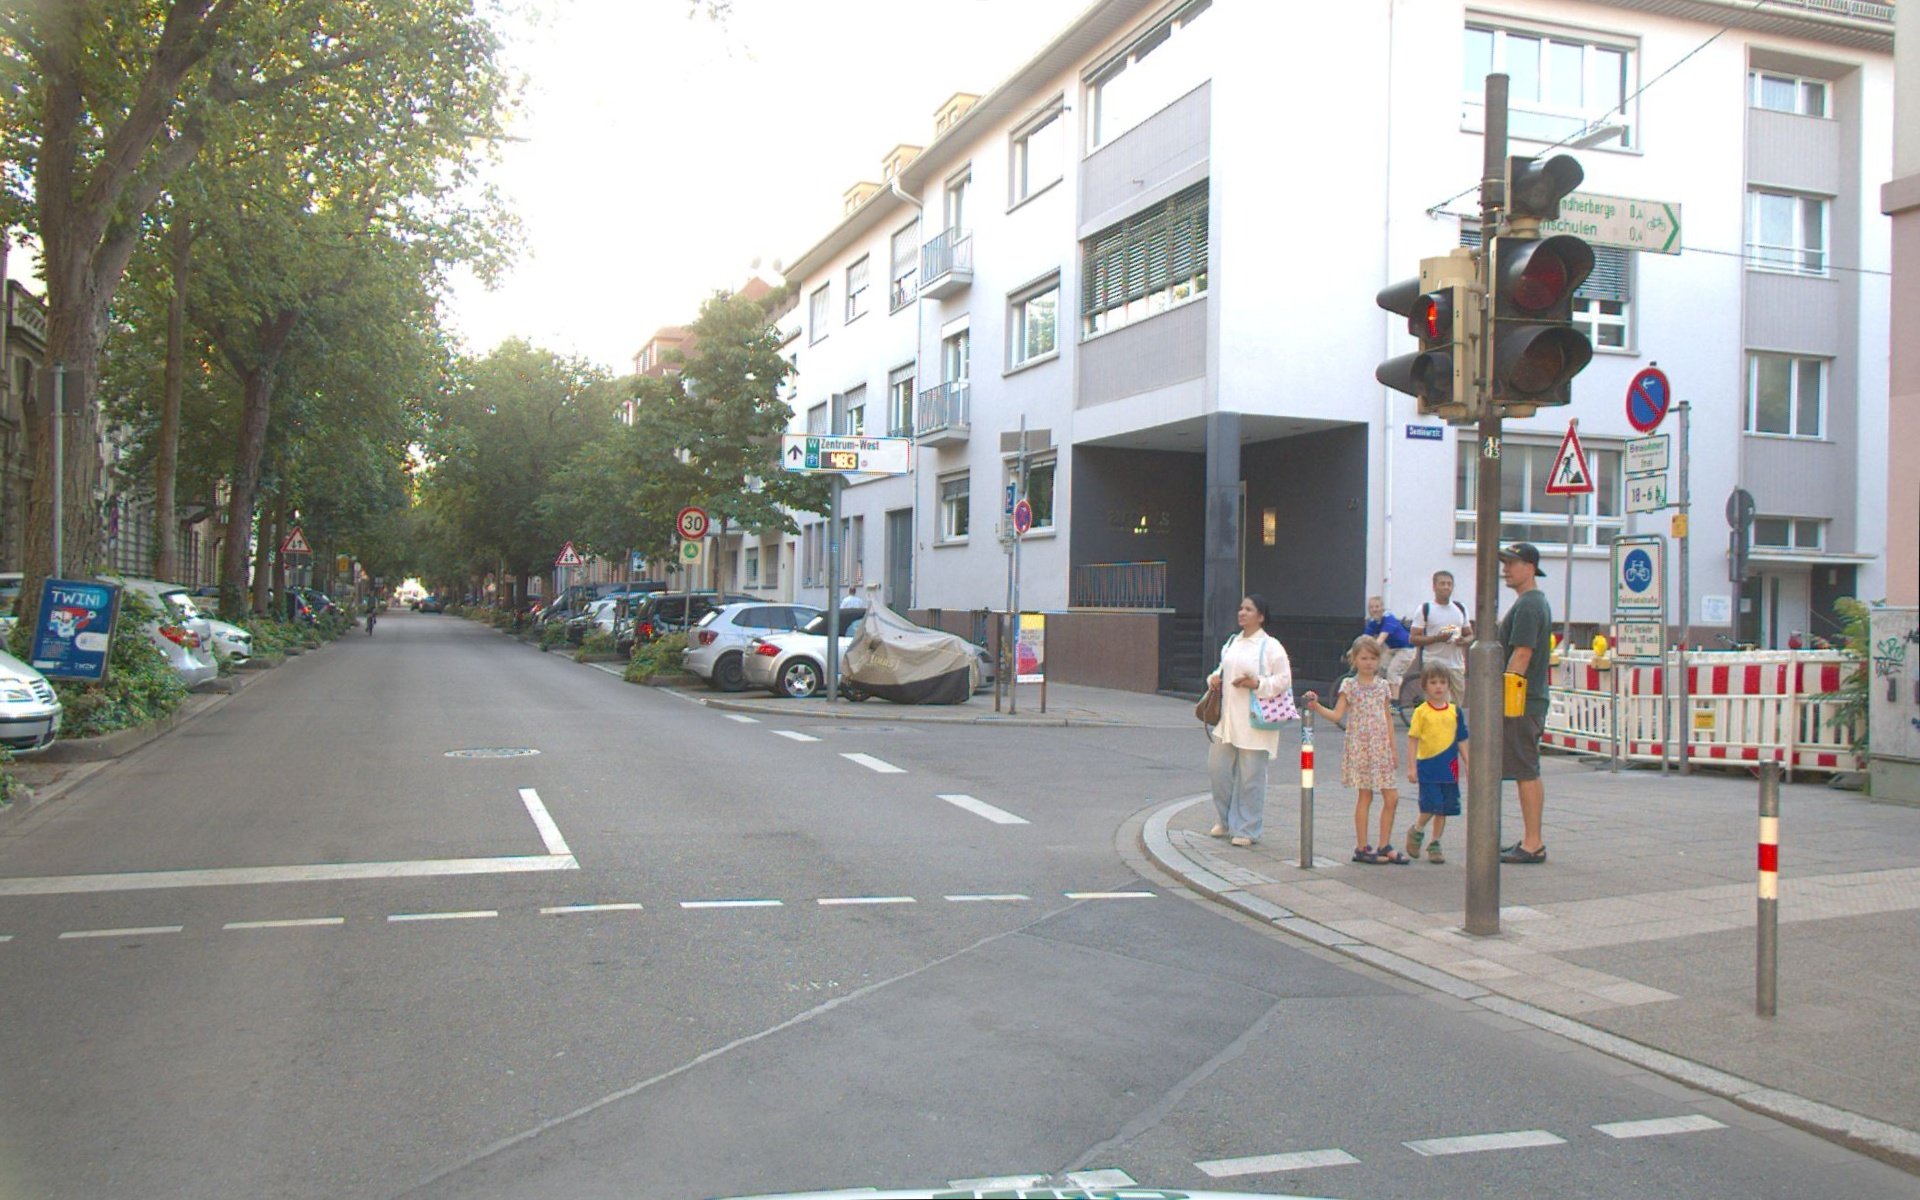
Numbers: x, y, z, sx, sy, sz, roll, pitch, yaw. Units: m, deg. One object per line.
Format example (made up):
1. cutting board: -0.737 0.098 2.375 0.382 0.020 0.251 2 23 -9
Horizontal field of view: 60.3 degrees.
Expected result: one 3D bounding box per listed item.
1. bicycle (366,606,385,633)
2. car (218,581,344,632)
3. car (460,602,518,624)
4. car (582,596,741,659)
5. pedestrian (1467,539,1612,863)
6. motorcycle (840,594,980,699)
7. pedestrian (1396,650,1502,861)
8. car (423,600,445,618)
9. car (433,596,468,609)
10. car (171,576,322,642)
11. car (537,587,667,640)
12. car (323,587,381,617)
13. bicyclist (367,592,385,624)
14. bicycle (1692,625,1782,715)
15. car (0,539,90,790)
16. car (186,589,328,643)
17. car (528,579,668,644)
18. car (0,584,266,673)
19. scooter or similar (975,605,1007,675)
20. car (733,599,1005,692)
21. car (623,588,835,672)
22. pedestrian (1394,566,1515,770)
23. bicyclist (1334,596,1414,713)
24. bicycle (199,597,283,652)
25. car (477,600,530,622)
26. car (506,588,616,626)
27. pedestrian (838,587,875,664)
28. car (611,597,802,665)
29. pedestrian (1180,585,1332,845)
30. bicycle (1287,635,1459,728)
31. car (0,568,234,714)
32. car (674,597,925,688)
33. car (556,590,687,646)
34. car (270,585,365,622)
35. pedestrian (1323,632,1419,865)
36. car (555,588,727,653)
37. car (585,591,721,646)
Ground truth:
1. bicycle: -23.311 0.771 65.961 0.662 1.011 1.749 1 0 -18
2. car: -25.186 0.232 61.520 4.137 1.701 1.897 3 -1 -19
3. car: -40.022 1.130 140.589 4.643 1.740 1.940 1 0 -18
4. car: -8.057 0.710 44.590 4.010 1.454 1.809 -3 1 -17
5. pedestrian: 3.361 0.563 9.614 0.535 1.805 0.573 -1 0 -18
6. motorcycle: -0.707 0.632 22.861 1.871 1.417 0.998 0 -1 -6
7. pedestrian: 2.822 0.886 9.575 0.532 1.165 0.493 -1 0 12
8. car: -49.401 0.871 155.317 1.927 1.593 4.259 -1 0 -18
9. car: -64.065 0.276 207.994 4.204 1.593 1.952 -1 0 -19
10. car: -21.394 0.272 49.766 3.905 1.624 1.771 5 -2 -19
11. car: -12.269 0.440 56.702 4.096 1.606 1.958 -3 1 -21
12. car: -53.259 0.226 144.920 4.612 2.521 1.989 1 -1 -19
13. bicyclist: -23.326 0.323 66.037 0.662 1.286 0.644 1 0 -19
14. bicycle: 11.327 1.000 24.097 1.779 1.261 0.525 1 0 -42
15. car: -8.808 0.345 11.740 4.361 1.752 1.879 3 -1 -21
16. car: -22.361 0.521 52.753 3.904 1.411 1.756 4 -1 -18
17. car: -12.935 0.388 59.022 4.620 2.046 2.025 -3 1 -20
18. car: -14.488 0.491 28.487 4.442 1.415 1.907 1 -1 -17
19. scooter or similar: 0.575 0.736 30.833 0.339 1.261 1.418 1 0 -9
20. car: -1.438 0.690 25.618 3.922 1.356 1.786 1 0 -16
21. car: -4.761 0.619 33.951 4.046 1.646 1.950 1 0 -19
22. pedestrian: 4.740 0.626 15.904 0.685 1.887 1.046 0 0 -14
23. bicyclist: 5.120 0.670 20.484 0.758 1.387 0.674 2 -2 -3
24. bicycle: -17.016 0.592 39.169 1.741 1.254 0.498 1 -2 -14
25. car: -31.840 0.751 115.275 3.434 1.478 1.887 0 0 -21
26. car: -17.046 0.281 70.642 4.338 1.418 1.874 -3 1 -21
27. pedestrian: -2.472 0.602 39.406 0.686 1.826 0.876 1 0 -18
28. car: -6.019 0.718 39.246 4.251 1.522 1.783 0 0 -20
29. pedestrian: 1.843 0.685 10.293 0.708 1.538 0.596 -1 0 42
30. bicycle: 5.099 1.006 20.478 1.931 1.048 0.674 3 -2 -3
31. car: -10.709 0.446 18.954 4.103 1.584 1.818 2 -1 -17
32. car: -2.730 0.707 27.922 3.926 1.463 1.785 1 0 -19
33. car: -11.002 0.576 53.752 3.908 1.606 1.840 -3 1 -20
34. car: -32.745 0.193 84.436 4.357 1.680 1.863 3 -1 -18
35. pedestrian: 2.349 0.836 9.481 0.478 1.283 0.452 -1 0 9
36. car: -9.053 0.562 46.918 4.524 1.606 1.932 -3 1 -20
37. car: -9.198 0.538 49.536 3.738 1.448 1.687 -3 1 -20
